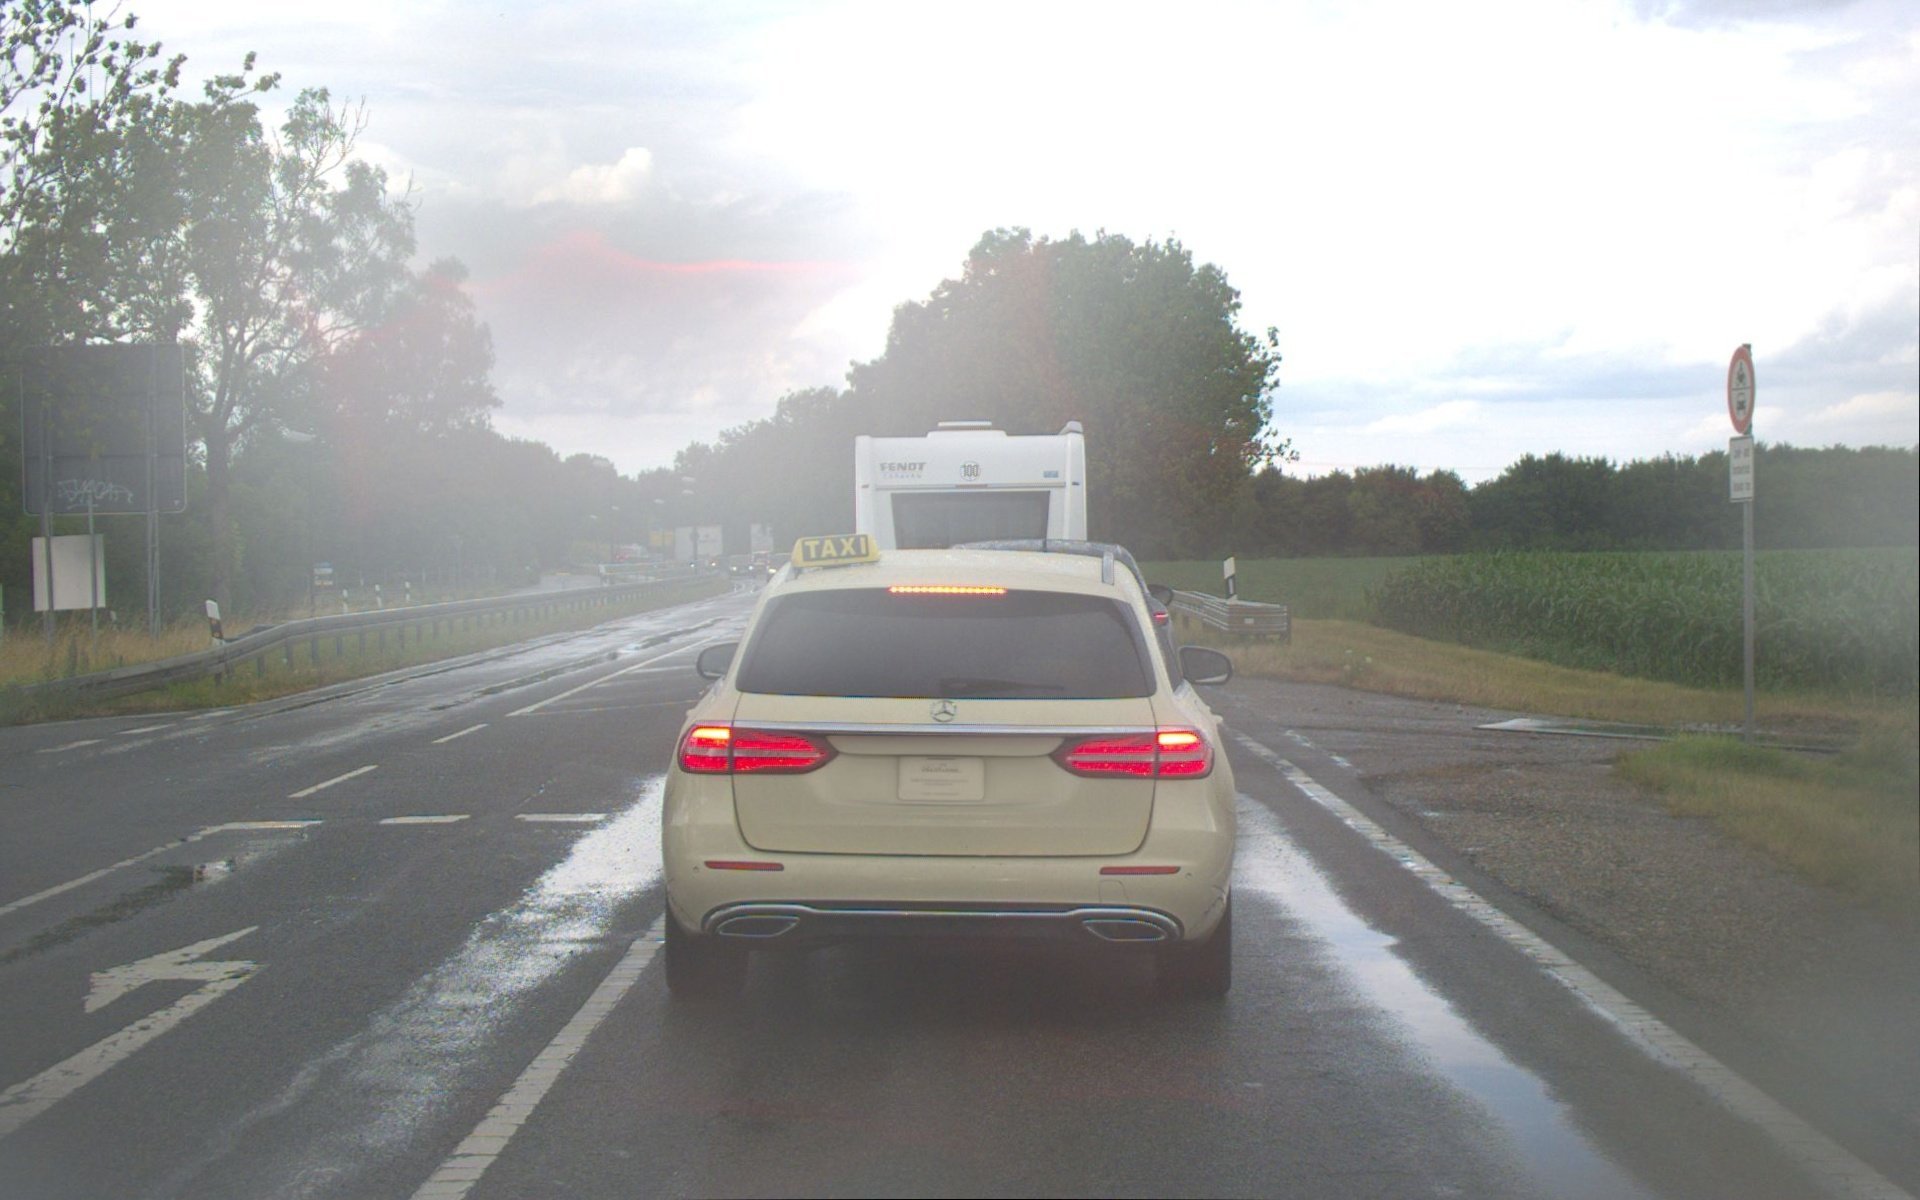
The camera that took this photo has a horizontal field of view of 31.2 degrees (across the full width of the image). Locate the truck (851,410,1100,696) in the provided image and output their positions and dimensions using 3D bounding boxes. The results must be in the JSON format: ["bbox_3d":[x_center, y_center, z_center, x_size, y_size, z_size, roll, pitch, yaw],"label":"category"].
[{"bbox_3d":[0.116,-0.510,36.926,2.363,2.719,7.314,-1,1,-1],"label":"truck"}]

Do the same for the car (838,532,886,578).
[{"bbox_3d":[-3.866,-1.786,135.758,1.791,1.771,3.721,-1,1,-1],"label":"car"}]

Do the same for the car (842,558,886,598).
[{"bbox_3d":[-4.298,-0.995,153.857,1.879,1.755,3.834,-1,1,-1],"label":"car"}]

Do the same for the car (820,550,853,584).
[{"bbox_3d":[-6.820,-1.826,190.245,1.740,1.853,3.785,-1,1,-1],"label":"car"}]

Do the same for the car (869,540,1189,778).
[{"bbox_3d":[0.415,0.354,23.723,1.993,1.457,4.000,1,1,-1],"label":"car"}]

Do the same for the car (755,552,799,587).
[{"bbox_3d":[-8.417,-1.420,158.328,1.828,1.568,4.000,1,1,0],"label":"car"}]

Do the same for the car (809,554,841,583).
[{"bbox_3d":[-8.009,-1.869,203.919,1.748,1.656,3.673,-1,1,-5],"label":"car"}]

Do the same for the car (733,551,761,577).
[{"bbox_3d":[-13.289,-2.250,214.195,1.580,1.634,3.442,-1,1,-1],"label":"car"}]

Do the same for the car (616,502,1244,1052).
[{"bbox_3d":[-0.111,0.499,12.161,1.842,1.612,4.000,0,1,-1],"label":"car"}]

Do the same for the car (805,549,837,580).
[{"bbox_3d":[-8.606,-2.194,212.714,1.895,1.888,3.844,-1,1,-4],"label":"car"}]

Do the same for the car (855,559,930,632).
[{"bbox_3d":[-1.783,-0.142,91.072,1.915,1.834,3.796,-1,1,-1],"label":"car"}]
